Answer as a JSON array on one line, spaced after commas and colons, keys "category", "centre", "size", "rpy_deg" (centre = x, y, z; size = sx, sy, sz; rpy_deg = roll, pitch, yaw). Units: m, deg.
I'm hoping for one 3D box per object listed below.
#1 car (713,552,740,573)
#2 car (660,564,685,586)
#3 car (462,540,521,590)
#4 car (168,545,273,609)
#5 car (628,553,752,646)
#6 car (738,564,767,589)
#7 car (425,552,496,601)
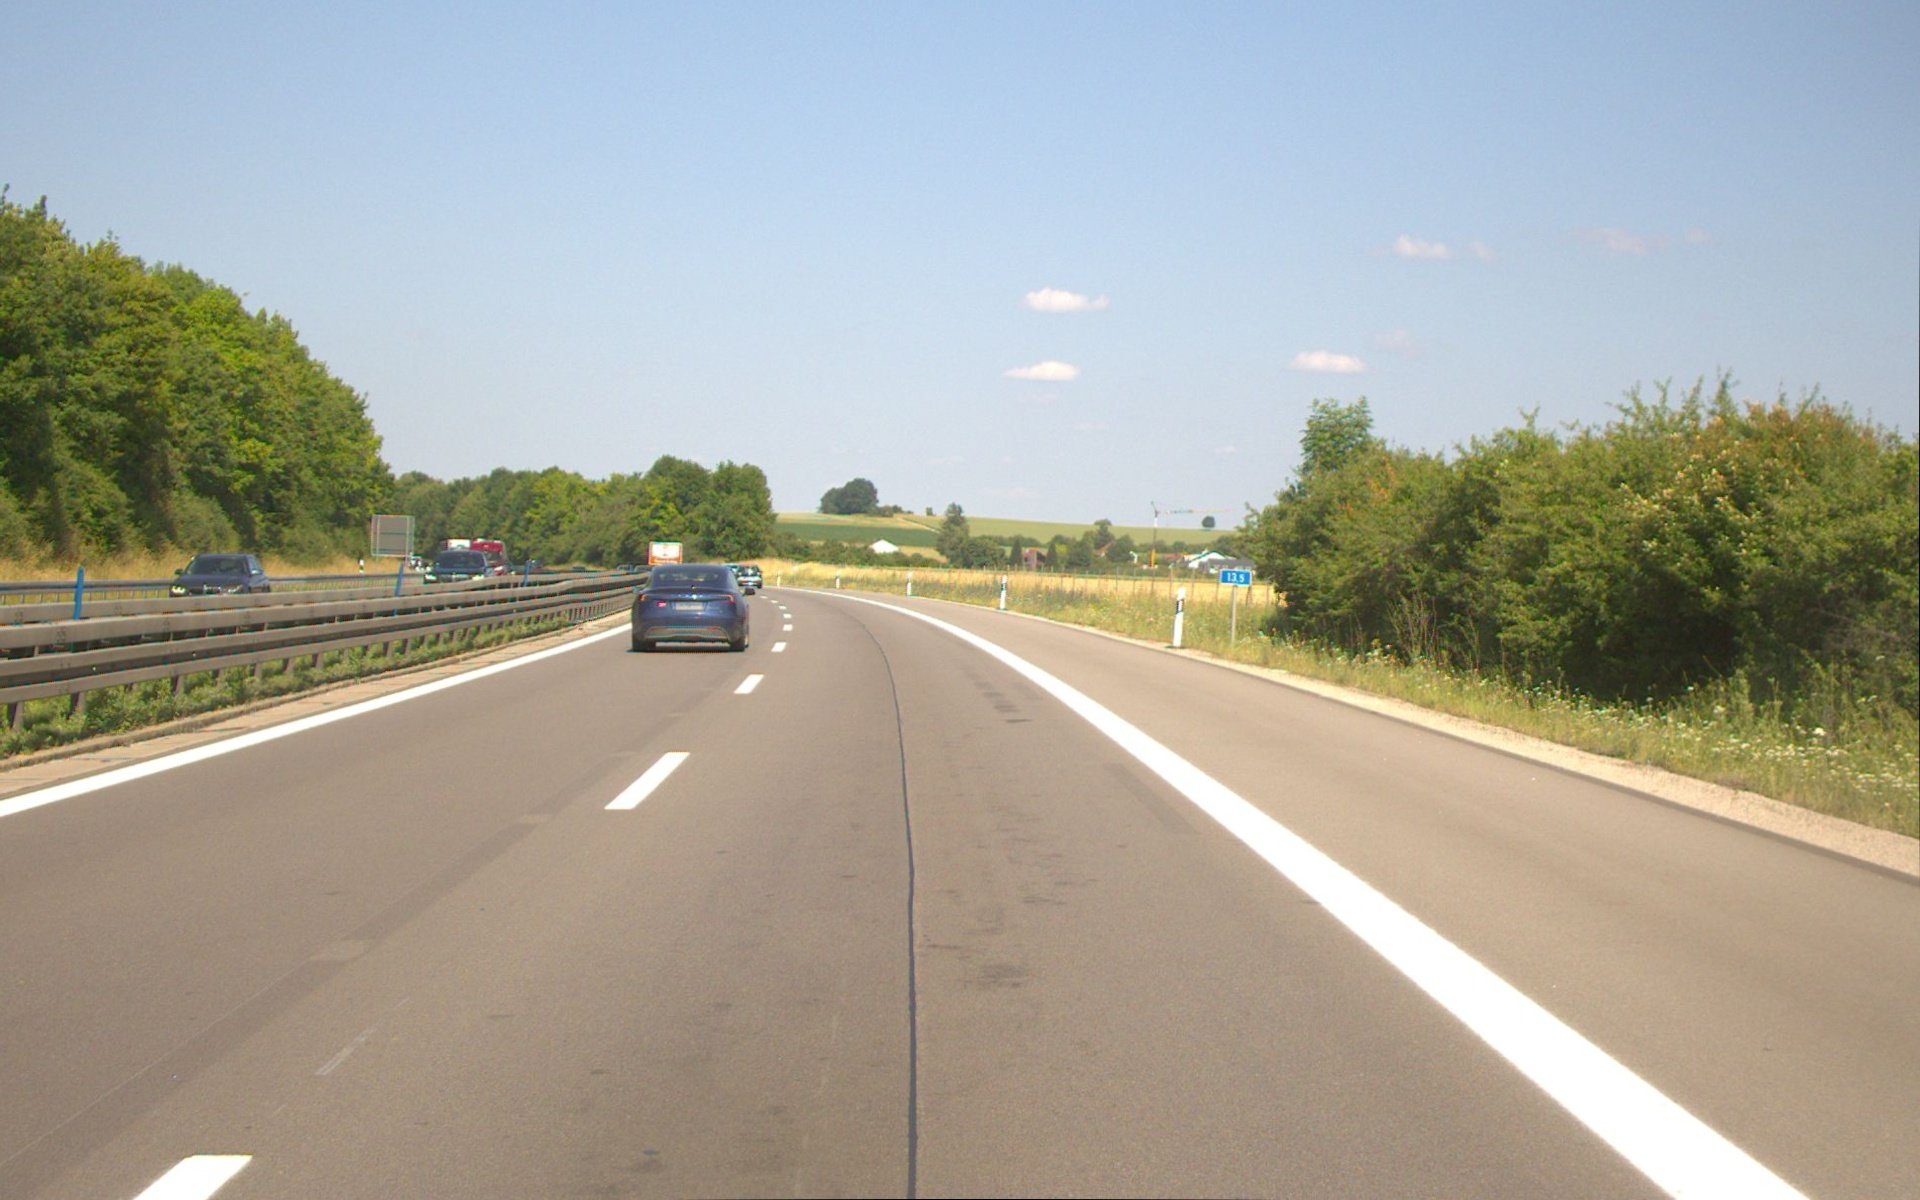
[{"category": "car", "centre": [-16.317, -2.614, 240.122], "size": [1.675, 1.448, 3.593], "rpy_deg": [1, 1, -6]}, {"category": "car", "centre": [-19.667, -1.699, 235.300], "size": [1.676, 1.448, 3.592], "rpy_deg": [1, 1, -5]}, {"category": "car", "centre": [-25.299, -1.933, 185.846], "size": [2.543, 2.586, 6.594], "rpy_deg": [2, 1, -3]}, {"category": "car", "centre": [-17.046, -0.534, 79.434], "size": [1.662, 1.417, 4.000], "rpy_deg": [1, 1, -2]}, {"category": "car", "centre": [-4.482, -0.046, 57.758], "size": [1.847, 1.428, 5.866], "rpy_deg": [1, 1, -2]}, {"category": "car", "centre": [-12.508, -1.409, 207.425], "size": [1.676, 1.448, 3.592], "rpy_deg": [1, 1, -4]}, {"category": "car", "centre": [-15.038, -0.707, 103.594], "size": [1.662, 1.417, 4.000], "rpy_deg": [1, 1, -2]}]
